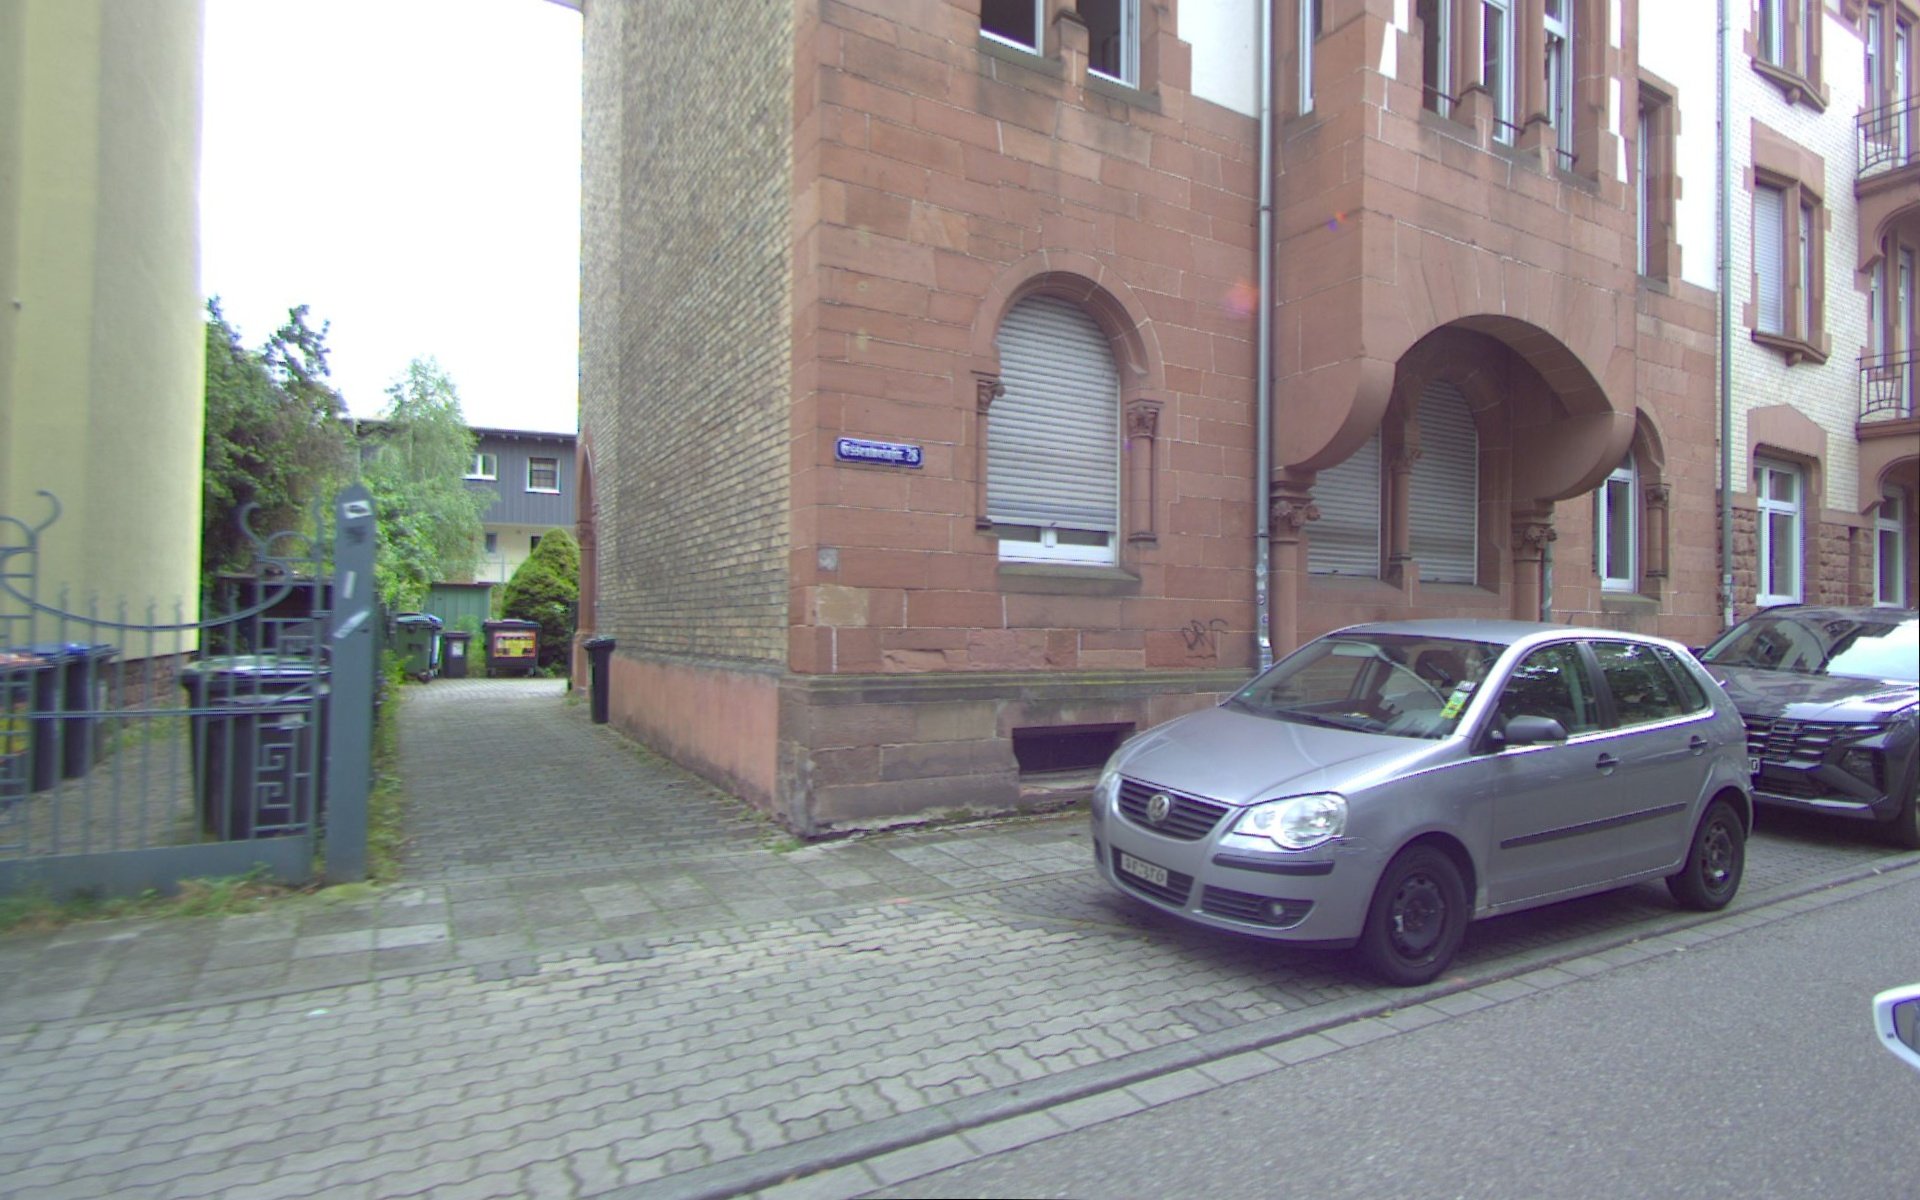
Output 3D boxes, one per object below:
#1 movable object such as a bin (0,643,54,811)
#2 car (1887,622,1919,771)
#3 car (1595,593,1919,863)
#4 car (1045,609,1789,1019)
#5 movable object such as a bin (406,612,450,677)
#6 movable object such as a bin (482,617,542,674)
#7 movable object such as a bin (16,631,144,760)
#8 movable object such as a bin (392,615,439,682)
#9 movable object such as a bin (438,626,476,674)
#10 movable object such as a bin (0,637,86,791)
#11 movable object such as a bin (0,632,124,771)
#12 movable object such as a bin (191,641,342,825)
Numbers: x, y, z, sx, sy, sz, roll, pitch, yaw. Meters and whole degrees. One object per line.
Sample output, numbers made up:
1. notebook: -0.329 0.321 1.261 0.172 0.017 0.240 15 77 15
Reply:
1. movable object such as a bin: -6.582 0.829 6.653 0.721 1.069 0.611 1 -1 -30
2. car: 11.673 1.034 10.645 3.953 1.492 1.627 2 0 -30
3. car: 7.234 0.838 8.123 4.311 1.669 1.777 1 0 -31
4. car: 2.517 0.816 5.310 3.883 1.440 1.654 1 0 -31
5. movable object such as a bin: -11.444 0.956 21.602 0.804 1.355 0.830 1 -1 -29
6. movable object such as a bin: -10.720 1.079 24.019 1.202 1.308 1.237 1 -1 -29
7. movable object such as a bin: -7.784 0.824 8.920 0.721 1.069 0.611 1 -1 -30
8. movable object such as a bin: -11.146 0.980 20.562 0.804 1.311 0.830 1 -1 -29
9. movable object such as a bin: -11.707 1.145 23.367 0.750 1.072 1.038 1 -1 -29
10. movable object such as a bin: -6.977 0.819 7.373 0.721 1.069 0.611 1 -1 -30
11. movable object such as a bin: -7.433 0.809 8.270 0.721 1.069 0.611 1 -1 -30
12. movable object such as a bin: -4.393 0.811 6.412 0.721 1.069 0.611 1 -1 -30
